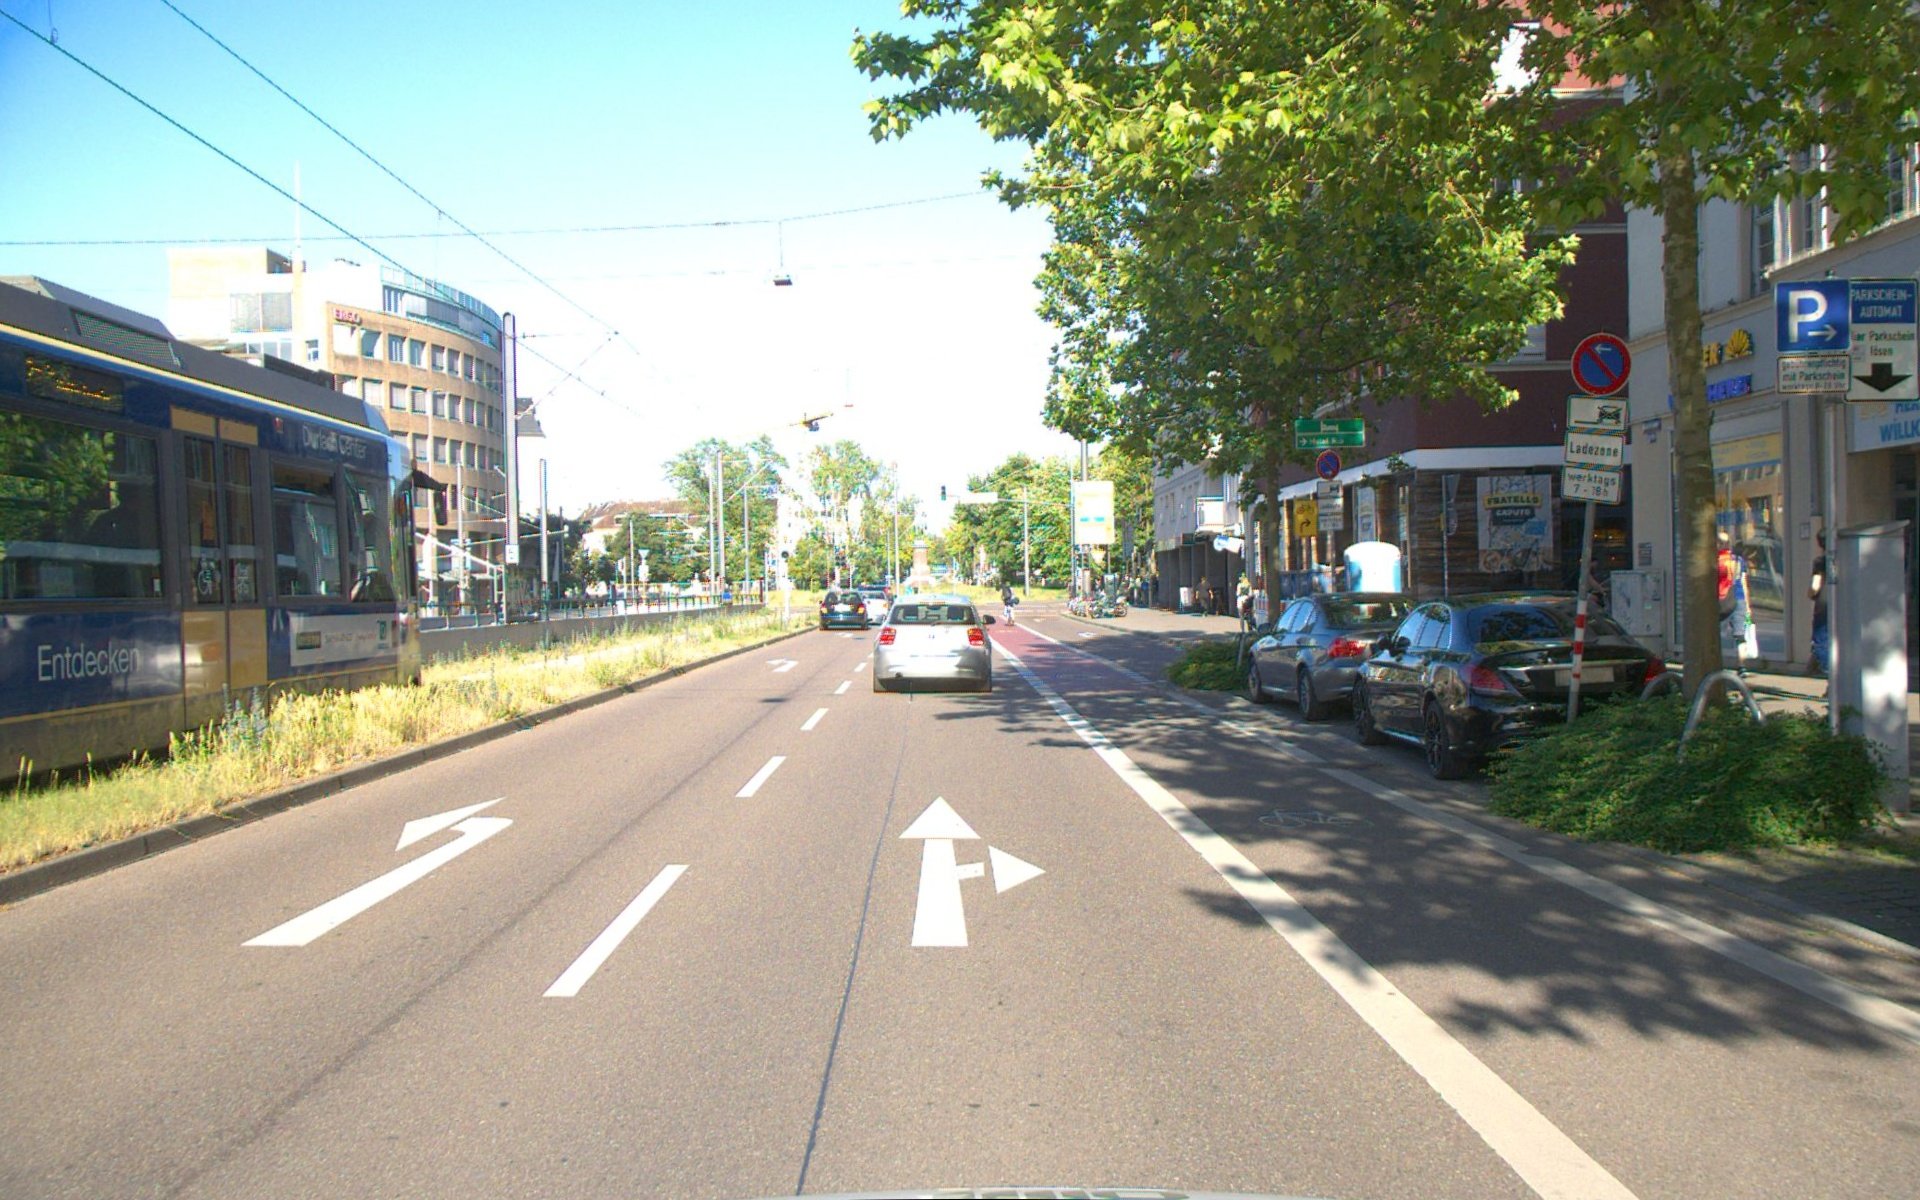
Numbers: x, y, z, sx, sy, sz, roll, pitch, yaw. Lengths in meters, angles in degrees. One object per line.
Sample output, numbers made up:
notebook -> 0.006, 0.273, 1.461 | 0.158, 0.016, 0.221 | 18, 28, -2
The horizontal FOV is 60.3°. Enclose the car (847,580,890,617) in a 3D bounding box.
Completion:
car -> -3.785, -0.064, 68.725 | 1.611, 1.446, 3.999 | 0, 0, -1

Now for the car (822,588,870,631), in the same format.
car -> -4.147, 0.318, 60.432 | 1.692, 1.496, 4.407 | 0, 0, -3

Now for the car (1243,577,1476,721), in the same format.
car -> 4.775, 0.527, 20.407 | 1.753, 1.582, 4.435 | 0, 0, -1

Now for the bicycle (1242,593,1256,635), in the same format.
bicycle -> 7.899, 0.363, 45.202 | 0.311, 1.104, 1.686 | -1, 0, 11

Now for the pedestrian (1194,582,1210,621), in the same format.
pedestrian -> 10.024, 0.053, 68.522 | 0.561, 1.610, 0.556 | 0, 0, -1

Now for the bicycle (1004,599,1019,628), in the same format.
bicycle -> 2.013, 0.511, 65.255 | 0.489, 1.107, 1.997 | 1, 0, -1

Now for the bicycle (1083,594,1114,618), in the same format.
bicycle -> 6.567, 0.265, 78.338 | 1.435, 1.086, 0.257 | -2, 0, 1

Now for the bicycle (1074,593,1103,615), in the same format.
bicycle -> 6.483, 0.216, 83.368 | 1.435, 1.086, 0.257 | -2, 0, 1

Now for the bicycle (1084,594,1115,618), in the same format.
bicycle -> 6.585, 0.272, 77.965 | 1.435, 1.086, 0.257 | -2, 0, 1

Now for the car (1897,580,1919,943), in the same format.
car -> 4.872, 0.661, 5.141 | 1.660, 1.528, 3.801 | -3, 1, -1

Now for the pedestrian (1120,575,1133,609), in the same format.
pedestrian -> 10.174, -0.467, 101.002 | 0.774, 2.049, 0.870 | 1, 0, 6

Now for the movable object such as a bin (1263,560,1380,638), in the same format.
movable object such as a bin -> 9.150, -0.061, 42.130 | 1.908, 1.875, 3.475 | -1, 1, -7

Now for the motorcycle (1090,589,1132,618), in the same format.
motorcycle -> 6.746, 0.156, 73.955 | 1.816, 1.323, 0.652 | 0, 0, 2

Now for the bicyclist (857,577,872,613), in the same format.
bicyclist -> -4.295, -0.223, 74.135 | 0.604, 1.599, 0.686 | 1, 0, 0

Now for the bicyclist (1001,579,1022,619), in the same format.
bicyclist -> 2.025, -0.028, 65.311 | 0.769, 1.558, 0.895 | 1, 0, -1

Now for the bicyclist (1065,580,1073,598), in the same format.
bicyclist -> 8.320, -0.851, 126.417 | 0.604, 1.404, 0.686 | 1, 0, 0

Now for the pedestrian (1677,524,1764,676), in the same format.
pedestrian -> 9.924, 0.001, 21.601 | 0.699, 1.933, 0.863 | -1, 0, -1

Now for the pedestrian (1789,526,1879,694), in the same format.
pedestrian -> 9.261, 0.099, 17.552 | 0.546, 1.741, 0.770 | 0, 0, -1

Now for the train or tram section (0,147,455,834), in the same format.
train or tram section -> -7.111, -0.657, 13.500 | 2.893, 3.965, 10.799 | 1, 0, -2

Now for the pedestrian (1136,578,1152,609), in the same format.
pedestrian -> 11.339, -0.407, 102.021 | 0.808, 1.888, 0.917 | 1, 0, 14

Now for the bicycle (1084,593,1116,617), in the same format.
bicycle -> 6.535, 0.248, 77.100 | 1.435, 1.086, 0.257 | -2, 0, 1

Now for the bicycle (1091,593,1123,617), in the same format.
bicycle -> 6.749, 0.229, 75.890 | 1.435, 1.086, 0.257 | -2, 0, 1

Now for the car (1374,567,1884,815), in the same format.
car -> 4.788, 0.550, 12.702 | 1.997, 1.535, 4.593 | -1, 0, -1

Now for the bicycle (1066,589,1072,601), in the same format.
bicycle -> 8.313, -0.381, 126.519 | 0.344, 0.975, 1.573 | 1, 0, 1

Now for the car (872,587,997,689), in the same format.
car -> -0.417, 0.526, 25.325 | 1.762, 1.439, 3.999 | 0, 0, -2

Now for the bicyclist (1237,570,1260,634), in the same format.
bicyclist -> 7.870, 0.047, 45.196 | 0.588, 1.719, 0.598 | -1, 0, 9

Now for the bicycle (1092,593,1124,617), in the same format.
bicycle -> 6.747, 0.229, 75.519 | 1.435, 1.086, 0.257 | -2, 0, 1

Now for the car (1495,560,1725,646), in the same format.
car -> 14.069, 0.084, 35.965 | 4.211, 1.819, 1.995 | 0, -1, -1

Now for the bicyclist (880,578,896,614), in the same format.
bicyclist -> -3.229, -0.180, 74.298 | 0.606, 1.599, 0.684 | 0, 0, -12
